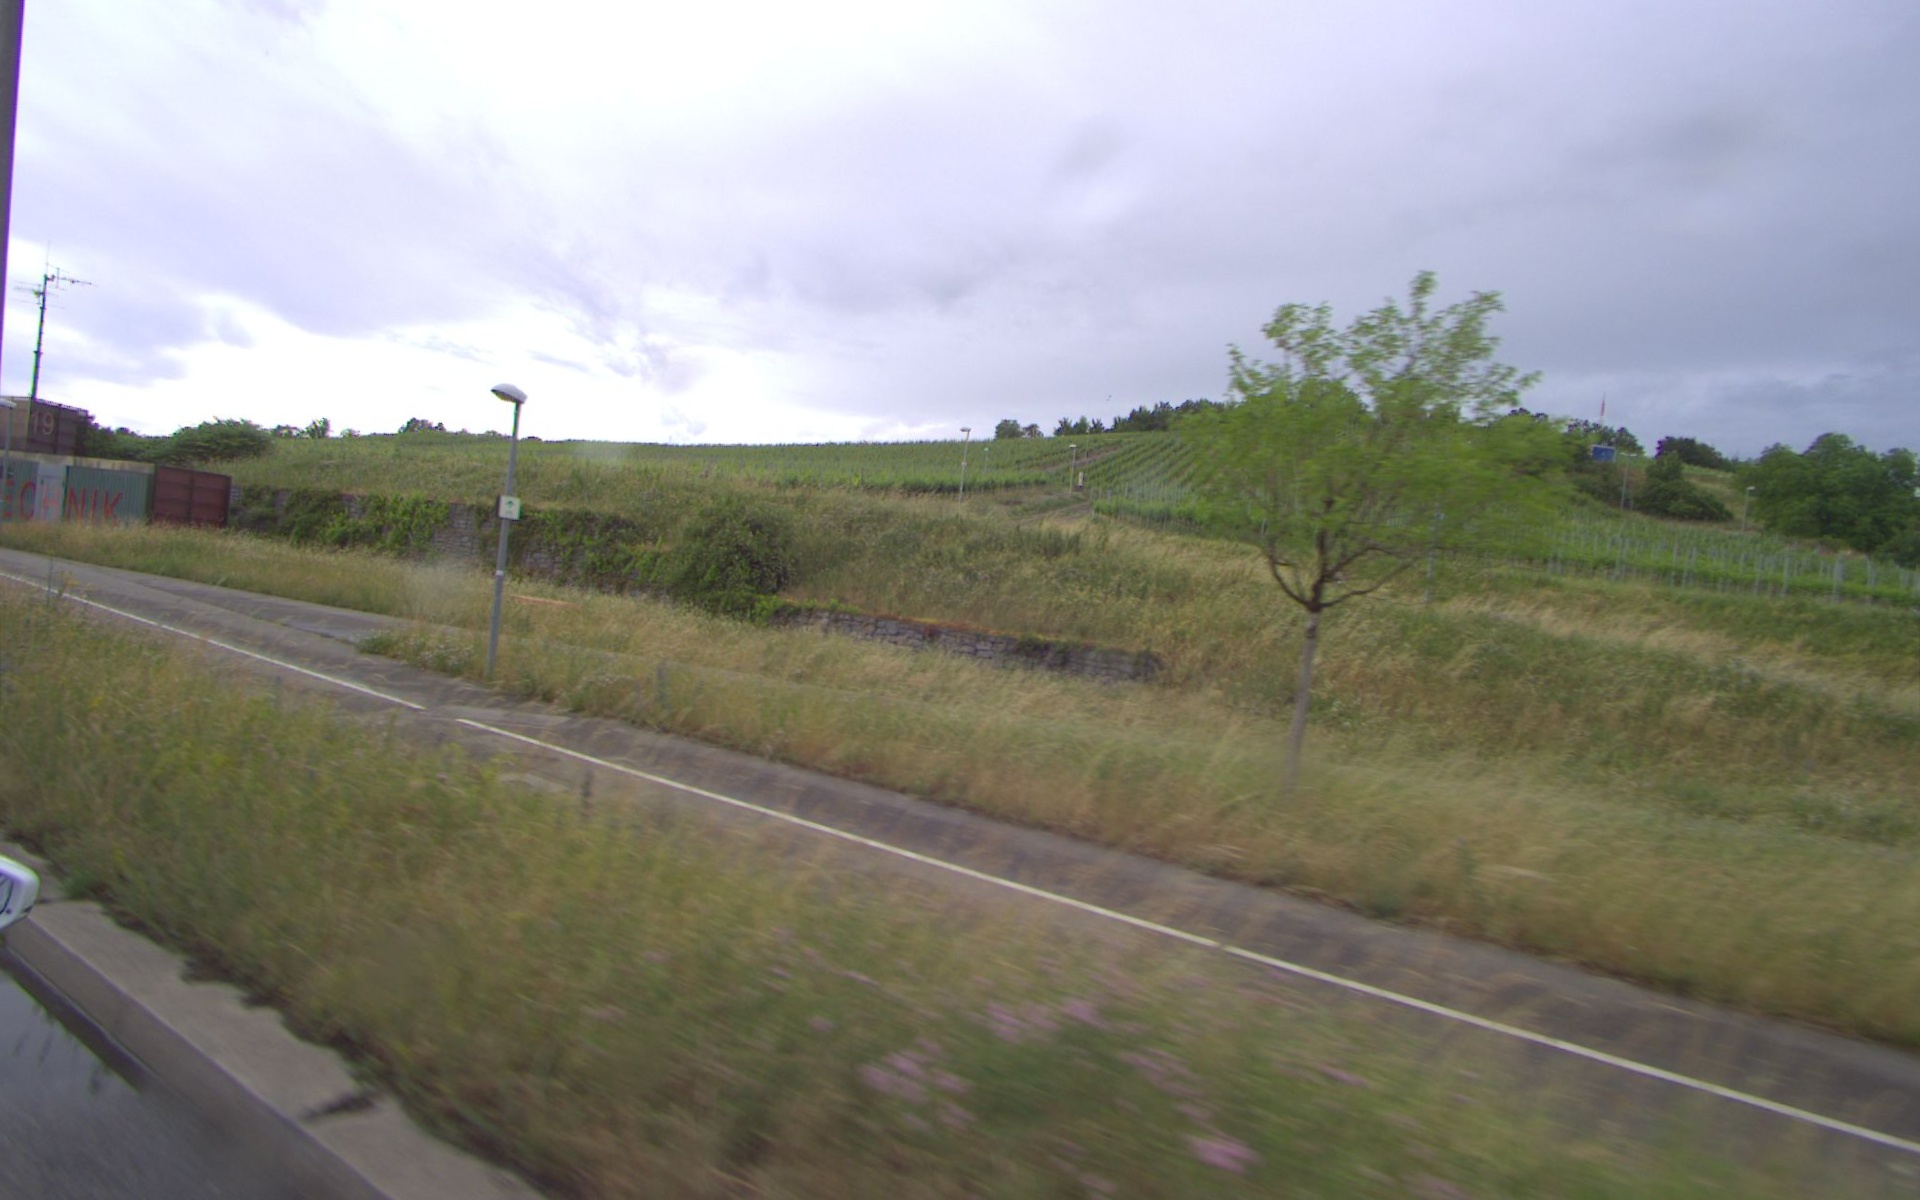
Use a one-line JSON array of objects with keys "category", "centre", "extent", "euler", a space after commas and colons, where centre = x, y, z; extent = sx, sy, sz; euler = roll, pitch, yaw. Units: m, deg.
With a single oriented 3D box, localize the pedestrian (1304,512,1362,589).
[{"category": "pedestrian", "centre": [10.675, -1.417, 28.807], "extent": [1.037, 2.040, 0.779], "euler": [8, 3, -9]}]
